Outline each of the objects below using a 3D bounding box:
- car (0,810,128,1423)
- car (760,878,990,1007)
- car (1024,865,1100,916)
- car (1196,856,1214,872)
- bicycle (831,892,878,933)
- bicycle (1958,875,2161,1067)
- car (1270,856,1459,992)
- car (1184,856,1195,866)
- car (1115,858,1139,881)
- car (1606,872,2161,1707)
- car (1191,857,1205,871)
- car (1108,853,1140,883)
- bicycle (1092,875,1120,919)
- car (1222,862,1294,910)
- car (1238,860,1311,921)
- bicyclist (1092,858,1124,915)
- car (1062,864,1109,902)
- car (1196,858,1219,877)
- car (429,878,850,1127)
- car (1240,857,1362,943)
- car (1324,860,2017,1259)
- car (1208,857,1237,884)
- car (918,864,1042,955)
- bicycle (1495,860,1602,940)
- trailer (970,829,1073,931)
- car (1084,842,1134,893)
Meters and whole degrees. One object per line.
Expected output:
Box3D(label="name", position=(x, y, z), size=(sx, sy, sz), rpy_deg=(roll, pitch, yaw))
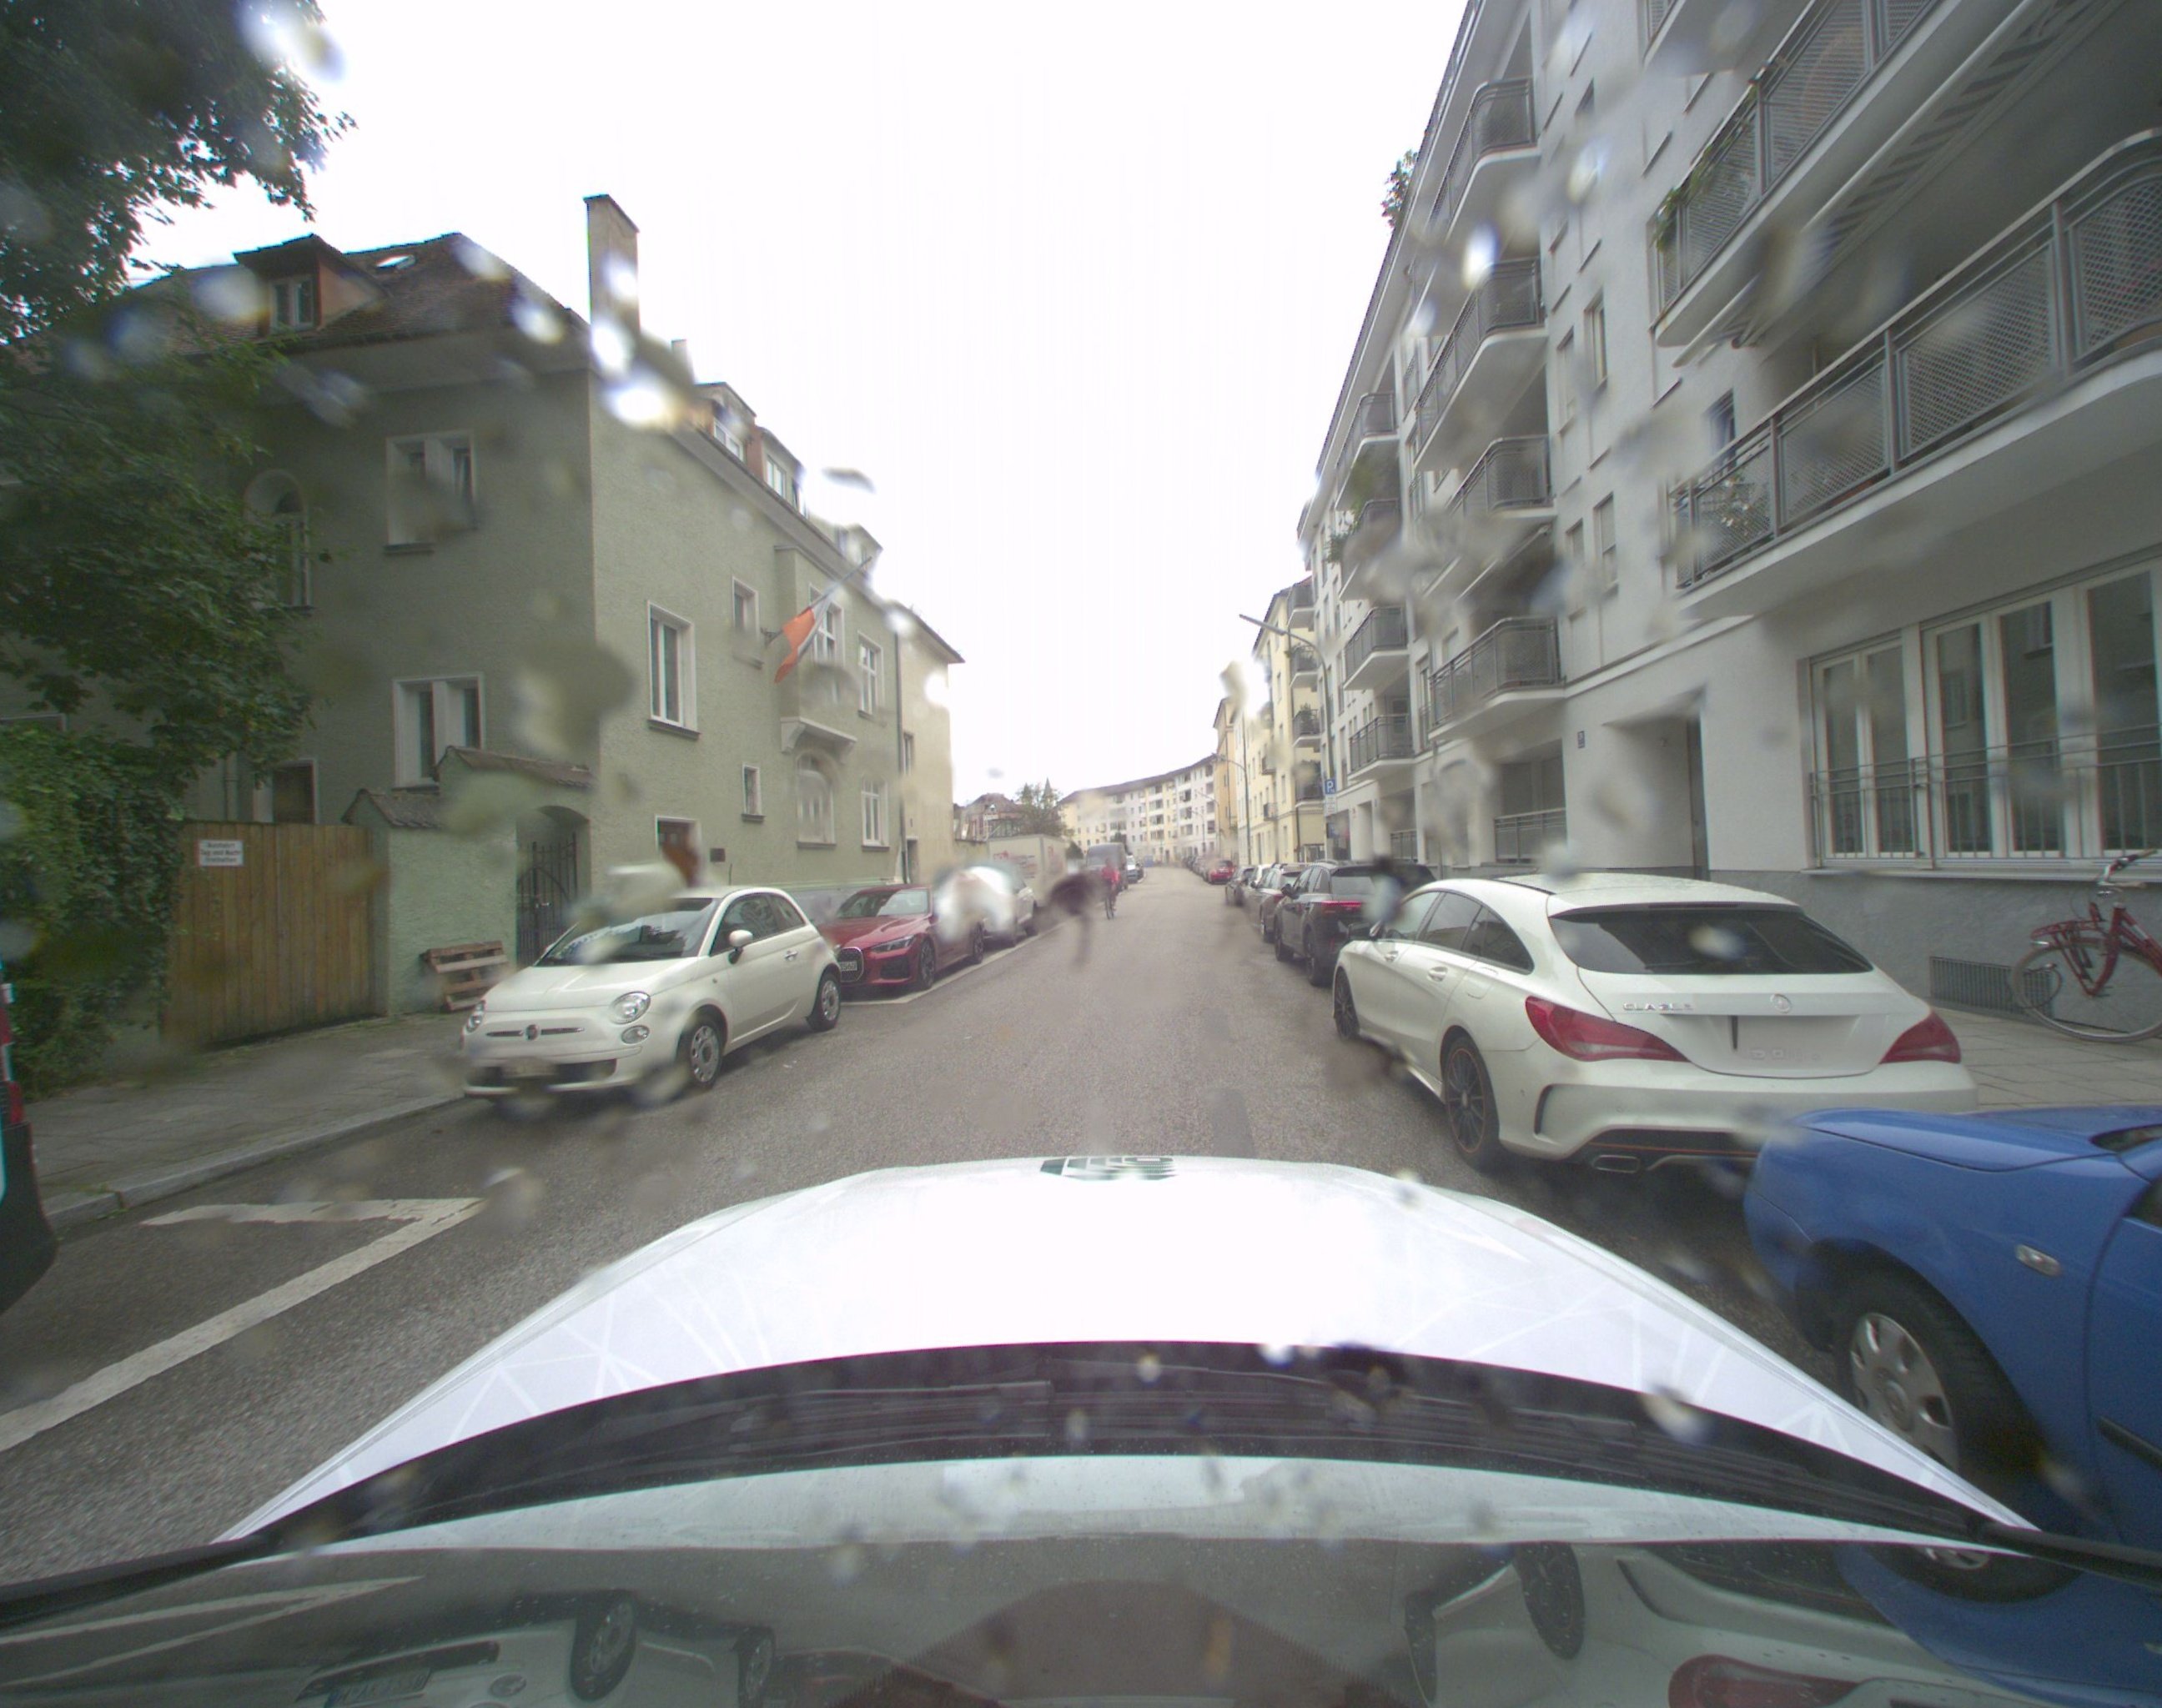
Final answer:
Box3D(label="car", position=(-4.248, 0.815, 0.703), size=(1.681, 1.803, 4.152), rpy_deg=(-4, -1, 6))
Box3D(label="car", position=(-2.754, 1.140, 12.048), size=(1.851, 1.412, 4.340), rpy_deg=(-4, -2, 5))
Box3D(label="car", position=(-0.580, 1.221, 28.668), size=(1.756, 1.538, 4.552), rpy_deg=(-4, -1, 9))
Box3D(label="car", position=(13.000, 1.017, 85.659), size=(1.583, 1.582, 4.305), rpy_deg=(-1, 0, 5))
Box3D(label="bicycle", position=(-5.688, 1.449, 20.580), size=(0.520, 0.907, 1.931), rpy_deg=(1, 0, 4))
Box3D(label="bicycle", position=(6.224, 0.639, 4.580), size=(0.674, 1.028, 1.837), rpy_deg=(-2, -2, 6))
Box3D(label="car", position=(3.691, 0.809, 11.288), size=(1.596, 1.530, 3.990), rpy_deg=(0, 0, 6))
Box3D(label="car", position=(14.340, 0.938, 107.465), size=(1.266, 1.299, 2.801), rpy_deg=(-2, -1, 5))
Box3D(label="car", position=(3.792, 1.246, 66.299), size=(1.693, 1.691, 4.034), rpy_deg=(-4, 0, 6))
Box3D(label="car", position=(2.463, 0.743, 0.985), size=(1.611, 1.412, 3.558), rpy_deg=(0, -1, 5))
Box3D(label="car", position=(13.743, 1.143, 95.781), size=(1.467, 1.641, 4.007), rpy_deg=(-1, 0, 5))
Box3D(label="car", position=(3.107, 0.960, 57.802), size=(1.873, 1.931, 4.608), rpy_deg=(-4, 0, 6))
Box3D(label="bicycle", position=(0.723, 1.211, 23.396), size=(0.501, 1.128, 1.778), rpy_deg=(-3, -1, 10))
Box3D(label="car", position=(5.710, 1.002, 26.703), size=(1.755, 1.408, 4.083), rpy_deg=(-2, -1, 4))
Box3D(label="car", position=(5.271, 0.950, 22.540), size=(1.511, 1.530, 3.532), rpy_deg=(-1, -1, 6))
Box3D(label="bicyclist", position=(0.781, 0.909, 23.411), size=(0.690, 1.561, 0.969), rpy_deg=(-3, -1, 9))
Box3D(label="car", position=(0.247, 1.209, 34.994), size=(1.693, 1.446, 3.829), rpy_deg=(-2, 0, 4))
Box3D(label="car", position=(10.281, 1.075, 66.257), size=(1.591, 1.491, 3.804), rpy_deg=(-2, 0, 5))
Box3D(label="car", position=(-3.354, 1.021, 6.943), size=(1.466, 1.466, 3.318), rpy_deg=(-4, -1, 5))
Box3D(label="car", position=(4.413, 0.848, 16.981), size=(1.725, 1.530, 4.628), rpy_deg=(0, 0, 6))
Box3D(label="car", position=(2.787, 0.761, 5.128), size=(1.650, 1.440, 4.213), rpy_deg=(0, 0, 6))
Box3D(label="car", position=(8.764, 0.994, 50.612), size=(1.587, 1.509, 3.808), rpy_deg=(-2, -1, 7))
Box3D(label="car", position=(-2.037, 1.093, 17.553), size=(1.678, 1.603, 3.928), rpy_deg=(-4, -1, 6))
Box3D(label="bicycle", position=(7.490, 0.688, 13.173), size=(0.624, 1.160, 2.130), rpy_deg=(-3, -1, 5))
Box3D(label="trailer", position=(-1.531, 0.653, 22.706), size=(1.699, 2.461, 4.398), rpy_deg=(-4, -1, 9))
Box3D(label="car", position=(1.634, 0.696, 45.320), size=(2.076, 2.636, 5.389), rpy_deg=(-2, 0, 8))
